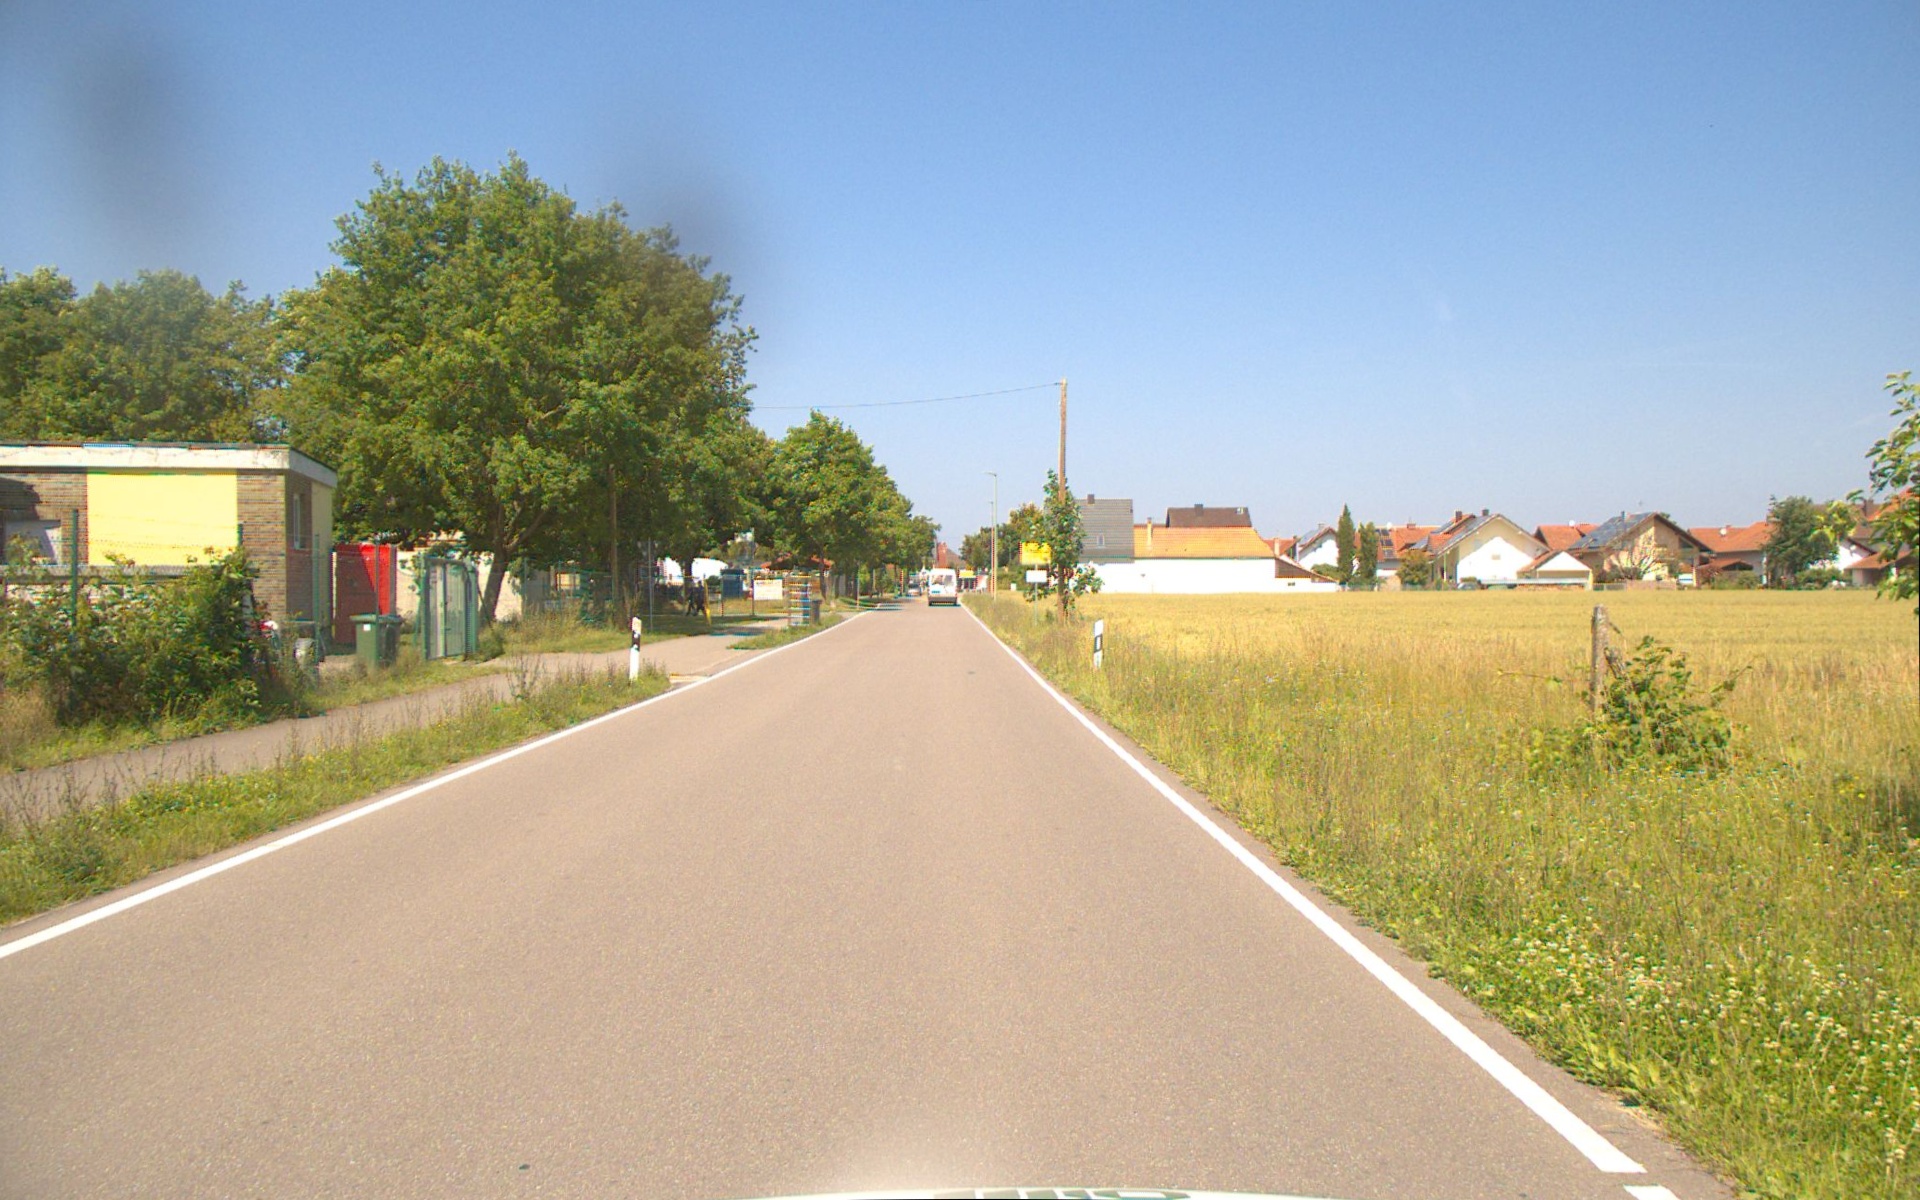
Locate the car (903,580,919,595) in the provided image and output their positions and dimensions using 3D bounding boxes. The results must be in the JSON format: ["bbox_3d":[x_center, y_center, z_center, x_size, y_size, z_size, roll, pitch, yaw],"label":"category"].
[{"bbox_3d":[-5.473,-1.397,185.270,1.735,1.618,3.999,-1,1,-1],"label":"car"}]

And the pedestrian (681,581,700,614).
[{"bbox_3d":[-13.002,-0.128,79.742,0.662,1.593,0.719,0,0,14],"label":"pedestrian"}]

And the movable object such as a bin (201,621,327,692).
[{"bbox_3d":[-9.293,0.738,22.181,1.076,0.846,1.855,-1,1,-7],"label":"movable object such as a bin"}]

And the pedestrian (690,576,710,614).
[{"bbox_3d":[-12.655,-0.257,80.510,0.704,1.834,0.711,0,0,14],"label":"pedestrian"}]

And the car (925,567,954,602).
[{"bbox_3d":[-1.416,-1.064,113.647,1.953,2.305,4.725,-1,1,-1],"label":"car"}]

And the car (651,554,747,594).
[{"bbox_3d":[-15.738,-1.569,99.900,5.560,2.305,1.971,-1,1,-40],"label":"car"}]
